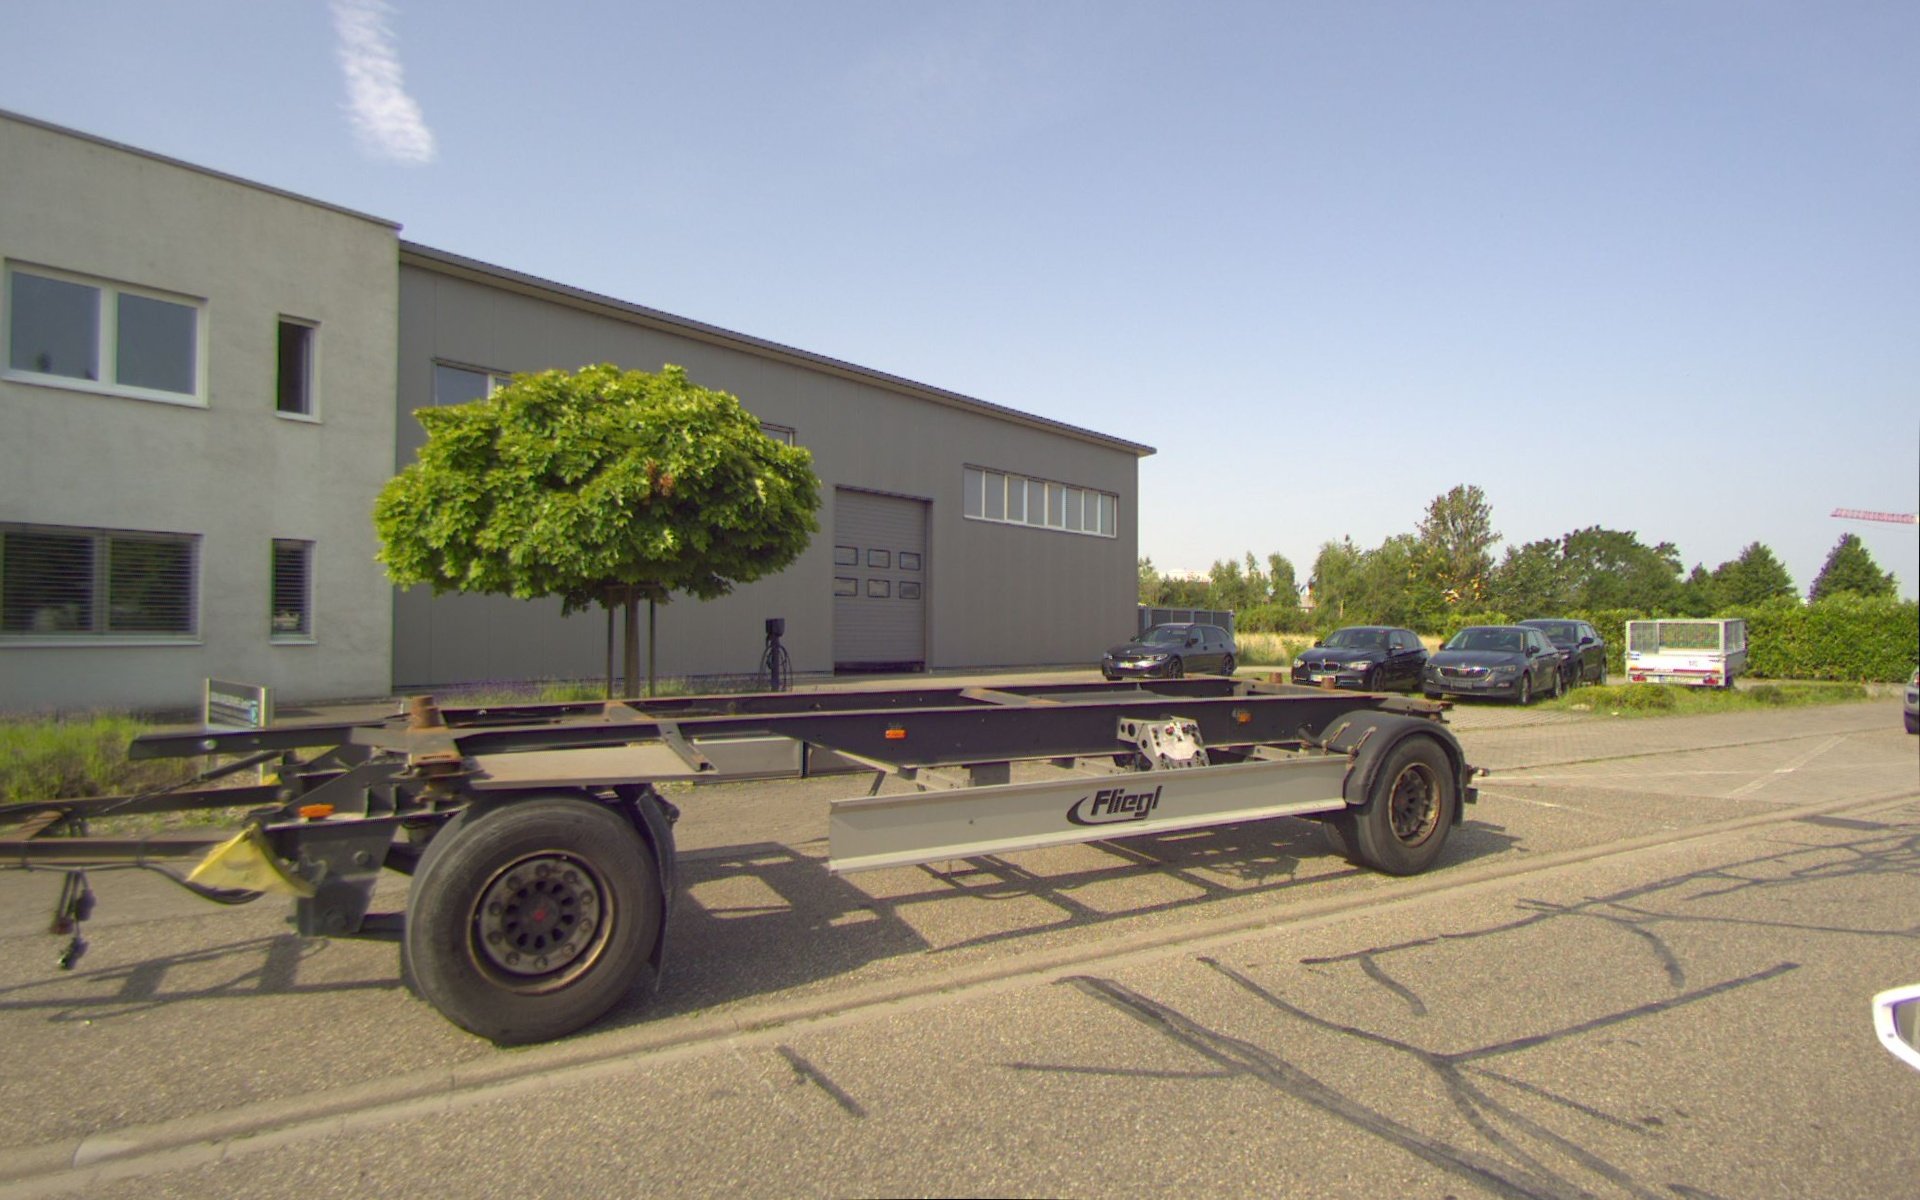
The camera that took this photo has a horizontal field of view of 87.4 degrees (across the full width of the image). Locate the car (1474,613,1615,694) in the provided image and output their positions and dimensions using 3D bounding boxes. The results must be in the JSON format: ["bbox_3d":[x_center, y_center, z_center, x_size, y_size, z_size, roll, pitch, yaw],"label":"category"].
[{"bbox_3d":[13.816,1.194,23.627,1.967,1.680,4.397,1,-1,42],"label":"car"}]

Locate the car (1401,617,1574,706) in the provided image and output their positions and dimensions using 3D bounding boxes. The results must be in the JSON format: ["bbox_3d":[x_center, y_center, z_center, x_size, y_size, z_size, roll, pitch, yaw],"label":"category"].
[{"bbox_3d":[10.471,1.134,19.785,1.954,1.496,4.397,1,-1,42],"label":"car"}]

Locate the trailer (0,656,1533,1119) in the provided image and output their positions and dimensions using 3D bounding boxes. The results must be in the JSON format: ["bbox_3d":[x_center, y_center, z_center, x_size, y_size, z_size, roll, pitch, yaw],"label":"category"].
[{"bbox_3d":[-0.954,0.969,5.374,9.617,1.089,2.533,1,1,-30],"label":"trailer"}]

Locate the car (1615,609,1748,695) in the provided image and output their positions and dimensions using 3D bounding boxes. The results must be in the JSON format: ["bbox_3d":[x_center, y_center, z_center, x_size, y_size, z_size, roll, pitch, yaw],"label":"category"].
[{"bbox_3d":[15.531,1.060,21.549,1.813,1.593,3.794,3,1,43],"label":"car"}]

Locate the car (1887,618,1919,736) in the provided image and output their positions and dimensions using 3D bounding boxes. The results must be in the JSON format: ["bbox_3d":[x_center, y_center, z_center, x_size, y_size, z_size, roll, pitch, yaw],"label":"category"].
[{"bbox_3d":[15.365,1.123,14.766,3.601,1.673,1.589,1,-1,-30],"label":"car"}]

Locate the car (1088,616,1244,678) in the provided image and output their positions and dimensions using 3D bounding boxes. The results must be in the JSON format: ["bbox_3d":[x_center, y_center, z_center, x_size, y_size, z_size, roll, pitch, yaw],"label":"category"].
[{"bbox_3d":[5.193,1.122,24.955,1.966,1.342,4.330,1,-1,40],"label":"car"}]

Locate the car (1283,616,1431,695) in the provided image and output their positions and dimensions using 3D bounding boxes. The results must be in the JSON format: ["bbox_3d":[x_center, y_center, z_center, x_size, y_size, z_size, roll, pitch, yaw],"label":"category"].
[{"bbox_3d":[8.646,1.129,21.648,1.659,1.496,4.330,1,-1,40],"label":"car"}]
